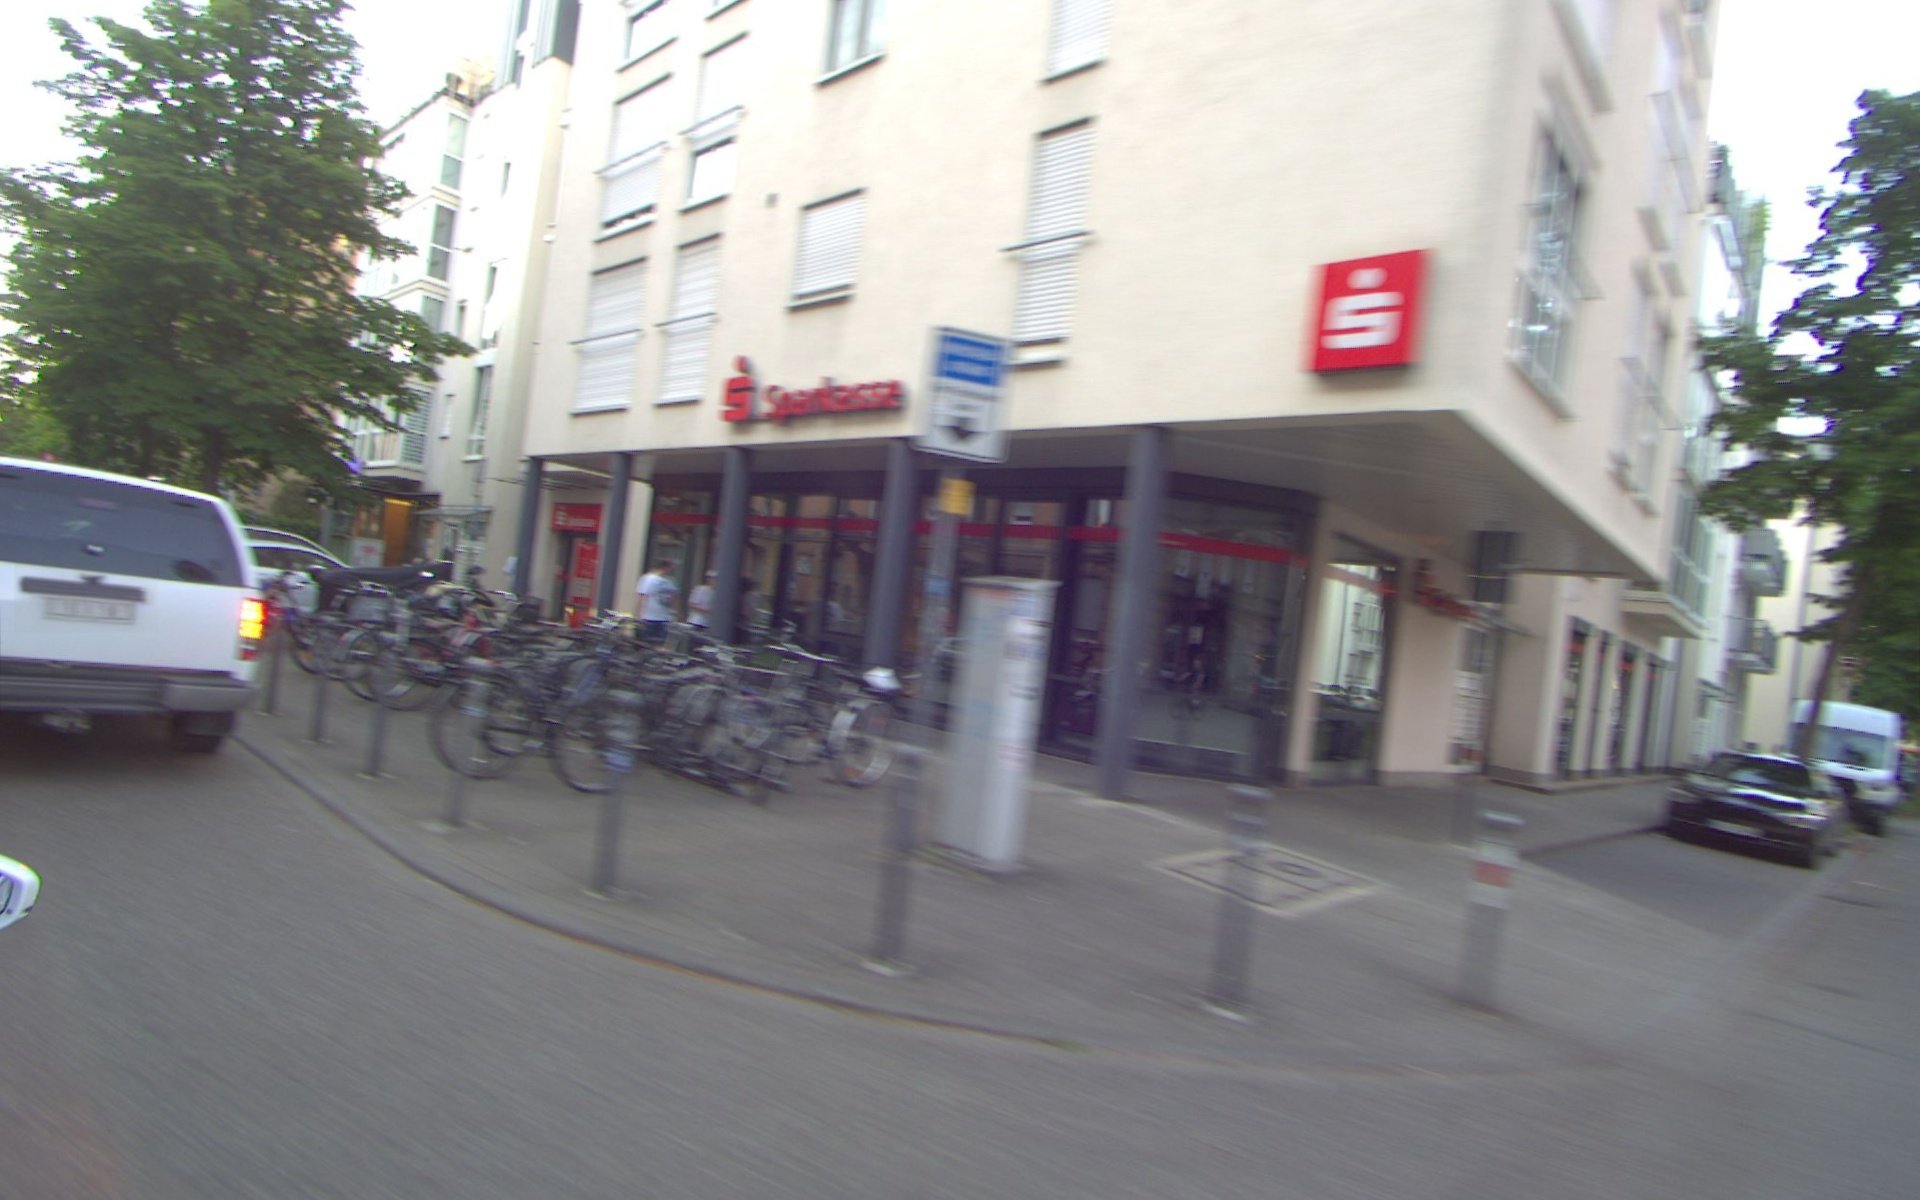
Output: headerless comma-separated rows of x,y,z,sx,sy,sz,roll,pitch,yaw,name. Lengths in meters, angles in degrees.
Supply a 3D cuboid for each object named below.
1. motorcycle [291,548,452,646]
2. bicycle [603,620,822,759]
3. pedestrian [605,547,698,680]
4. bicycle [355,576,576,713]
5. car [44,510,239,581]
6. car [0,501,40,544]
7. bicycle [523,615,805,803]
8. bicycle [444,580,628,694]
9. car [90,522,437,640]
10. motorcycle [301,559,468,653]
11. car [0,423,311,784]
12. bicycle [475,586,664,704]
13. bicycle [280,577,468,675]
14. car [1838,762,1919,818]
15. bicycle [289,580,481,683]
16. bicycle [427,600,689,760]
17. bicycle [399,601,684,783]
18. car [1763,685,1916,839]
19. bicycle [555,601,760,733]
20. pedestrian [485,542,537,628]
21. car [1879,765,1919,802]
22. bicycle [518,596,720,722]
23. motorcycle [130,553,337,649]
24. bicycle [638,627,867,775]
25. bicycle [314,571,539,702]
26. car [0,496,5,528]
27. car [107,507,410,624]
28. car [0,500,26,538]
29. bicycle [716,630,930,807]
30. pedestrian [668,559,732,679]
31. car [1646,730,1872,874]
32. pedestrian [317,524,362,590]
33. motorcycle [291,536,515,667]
-9.487,-0.022,16.291,0.707,1.387,2.055,7,1,39,motorcycle
-2.152,0.795,8.899,1.717,1.067,0.645,6,0,-44,bicycle
-4.370,0.184,14.289,0.896,1.745,0.775,7,2,0,pedestrian
-4.763,0.443,9.743,1.777,1.197,0.727,4,1,-37,bicycle
-23.084,-1.520,28.453,4.074,1.471,1.858,6,1,-45,car
-35.934,-2.982,37.852,4.419,1.448,1.671,6,2,44,car
-2.056,0.760,7.149,1.717,1.132,0.698,6,0,-44,bicycle
-4.700,0.443,11.249,0.644,1.132,1.720,6,0,40,bicycle
-11.513,-0.242,16.936,1.753,1.473,4.421,7,0,37,car
-8.829,0.117,15.505,0.708,1.259,2.052,7,1,44,motorcycle
-6.688,-0.120,7.263,5.198,1.875,1.909,6,-2,42,car
-4.152,0.511,10.798,0.644,1.132,1.720,6,0,40,bicycle
-6.775,0.327,11.688,1.766,1.035,0.558,4,1,-44,bicycle
36.371,7.373,38.350,3.932,1.703,1.946,6,-3,29,car
-6.378,0.368,11.223,1.713,1.045,0.659,4,1,-44,bicycle
-3.242,0.657,8.261,0.697,1.132,1.806,6,0,41,bicycle
-3.009,0.661,7.365,0.697,1.132,1.719,6,0,41,bicycle
20.328,3.717,23.235,2.047,2.765,6.755,9,-1,43,car
-2.901,0.668,9.761,1.717,1.132,0.645,6,0,-44,bicycle
-9.837,-0.323,22.050,0.578,1.773,0.627,6,-2,32,pedestrian
52.479,10.120,54.141,3.928,1.703,1.948,6,-3,24,car
-3.378,0.615,10.070,1.717,1.132,0.645,6,0,-44,bicycle
-9.464,0.047,13.210,0.652,1.091,2.061,6,0,28,motorcycle
-1.698,0.844,8.416,1.717,1.067,0.645,6,0,-44,bicycle
-5.410,0.386,10.266,1.861,1.197,0.734,4,1,-42,bicycle
-47.843,-4.400,49.061,3.851,1.520,1.671,6,1,45,car
-13.177,-0.594,19.121,1.723,1.668,4.390,7,0,42,car
-40.553,-3.491,42.187,4.172,1.475,1.672,6,1,42,car
-0.986,0.865,7.693,0.569,1.146,1.724,6,0,31,bicycle
-4.036,0.285,15.594,0.656,1.745,0.658,7,1,-24,pedestrian
11.751,2.862,14.689,4.219,1.450,1.770,9,1,-42,car
-17.305,-1.203,28.032,0.950,1.738,0.725,6,1,43,pedestrian
-7.620,0.056,13.877,2.484,1.568,0.813,6,0,-44,motorcycle
